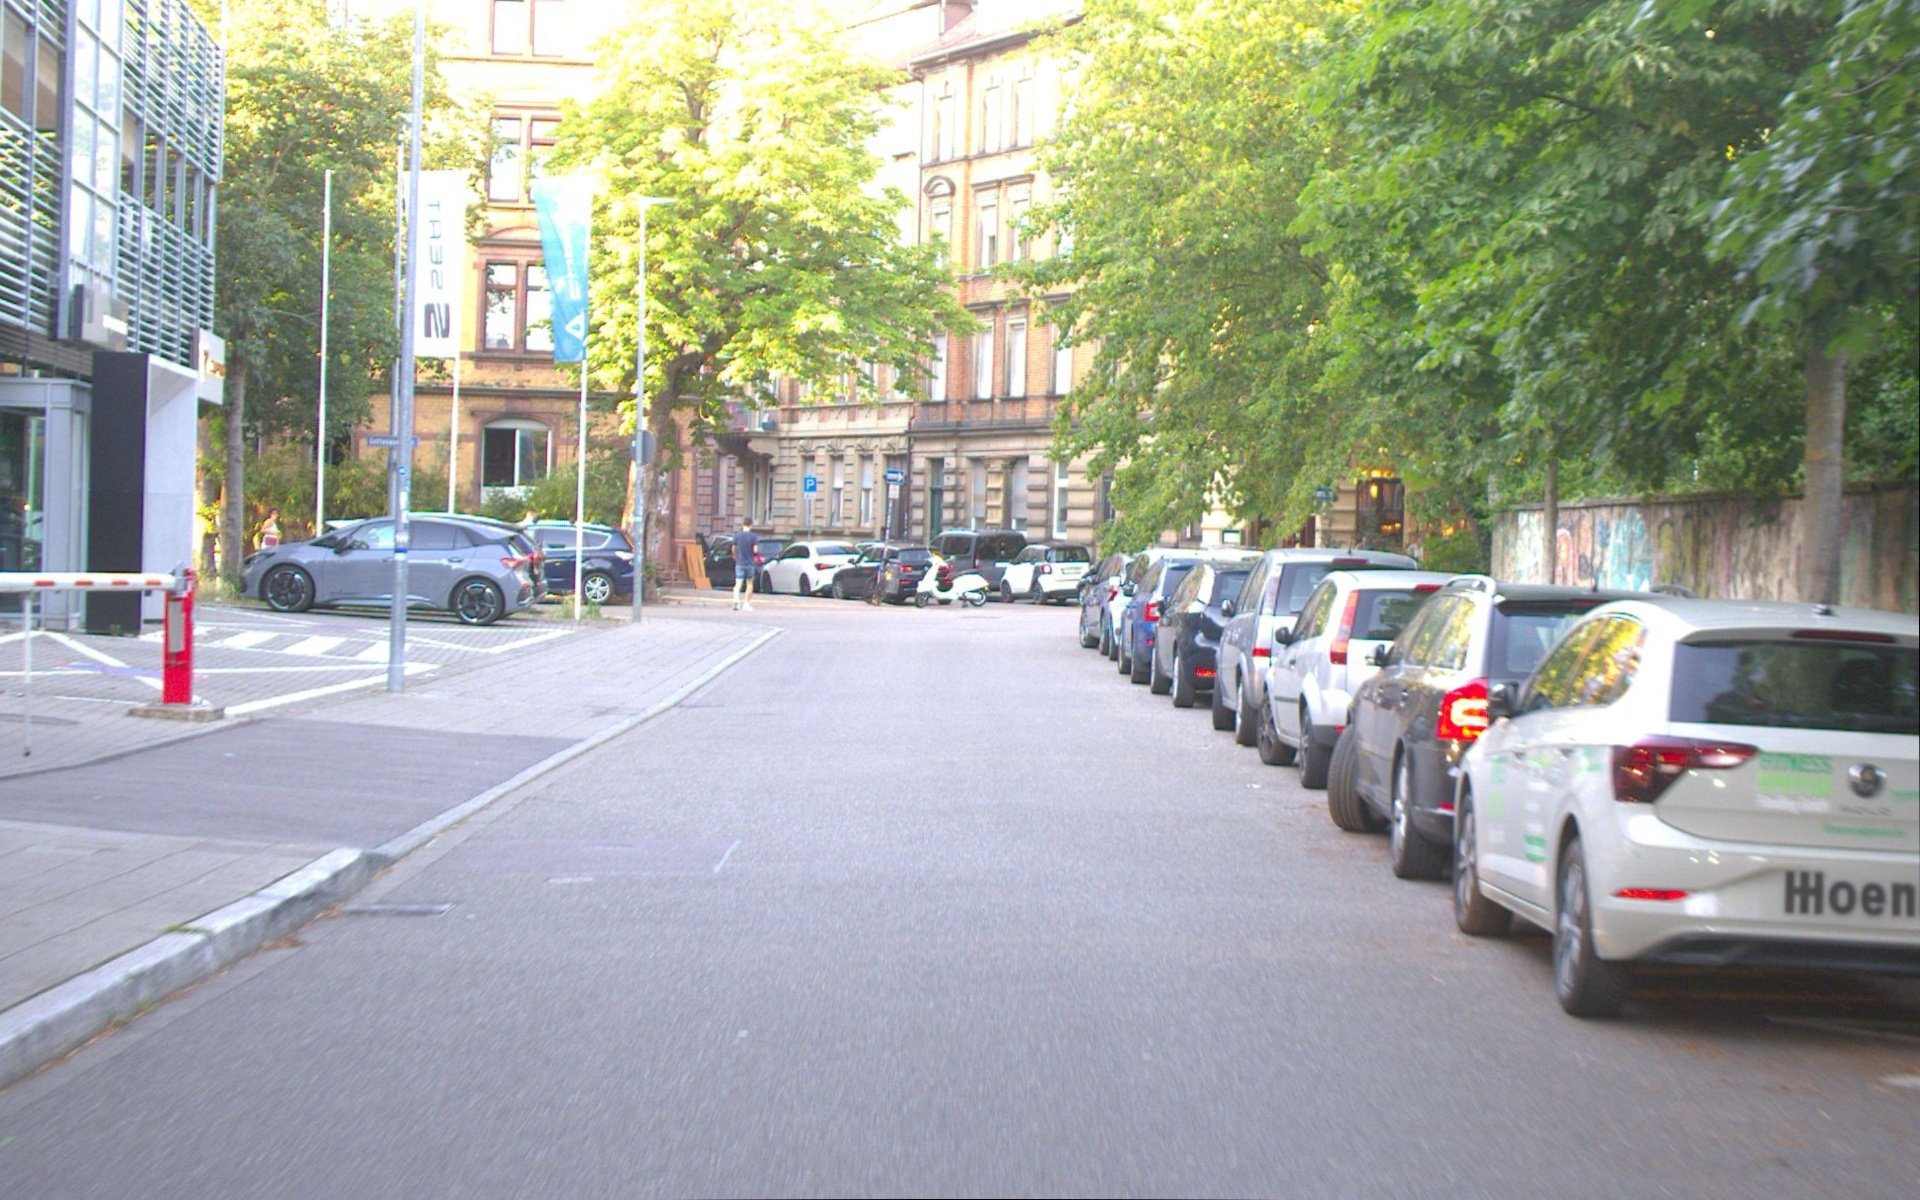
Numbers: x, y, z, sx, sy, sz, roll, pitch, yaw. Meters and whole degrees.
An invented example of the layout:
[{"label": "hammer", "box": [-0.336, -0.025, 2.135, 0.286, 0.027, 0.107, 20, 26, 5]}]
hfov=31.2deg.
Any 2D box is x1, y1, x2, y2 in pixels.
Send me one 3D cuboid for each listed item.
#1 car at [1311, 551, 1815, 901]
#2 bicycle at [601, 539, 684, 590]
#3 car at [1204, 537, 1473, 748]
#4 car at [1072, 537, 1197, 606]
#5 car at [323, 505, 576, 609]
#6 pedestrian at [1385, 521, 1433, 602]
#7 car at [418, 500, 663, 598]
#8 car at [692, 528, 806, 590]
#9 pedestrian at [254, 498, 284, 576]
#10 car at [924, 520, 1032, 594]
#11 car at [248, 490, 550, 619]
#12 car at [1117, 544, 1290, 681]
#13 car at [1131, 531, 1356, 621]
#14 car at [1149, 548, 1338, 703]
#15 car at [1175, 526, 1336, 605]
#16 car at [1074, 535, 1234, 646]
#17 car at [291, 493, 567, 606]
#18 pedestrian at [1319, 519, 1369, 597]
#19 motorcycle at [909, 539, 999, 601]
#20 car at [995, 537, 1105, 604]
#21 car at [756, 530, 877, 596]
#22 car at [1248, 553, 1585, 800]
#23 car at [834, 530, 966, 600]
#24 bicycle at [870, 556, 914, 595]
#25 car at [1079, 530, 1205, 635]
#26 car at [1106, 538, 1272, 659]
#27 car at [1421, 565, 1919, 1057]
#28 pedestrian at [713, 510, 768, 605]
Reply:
[{"label": "car", "box": [2.949, 0.540, 17.741, 1.759, 1.449, 4.393, 2, 2, 0]}, {"label": "bicycle", "box": [-6.719, -0.747, 72.729, 1.671, 1.024, 0.446, 1, 2, -24]}, {"label": "car", "box": [3.104, 0.300, 28.874, 1.759, 1.598, 3.874, 2, 1, 0]}, {"label": "car", "box": [4.180, -0.697, 82.955, 1.674, 1.520, 3.245, 1, 2, -24]}, {"label": "car", "box": [-8.674, -0.745, 58.640, 4.045, 1.470, 1.921, 4, 2, -4]}, {"label": "pedestrian", "box": [10.297, -0.885, 78.894, 0.773, 1.798, 0.843, 1, 2, -15]}, {"label": "car", "box": [-8.537, -1.049, 70.099, 4.828, 1.726, 1.921, 2, 2, -6]}, {"label": "car", "box": [-5.563, -1.085, 90.332, 1.654, 1.426, 3.897, 2, 2, -24]}, {"label": "pedestrian", "box": [-14.601, -1.341, 72.655, 0.542, 1.629, 0.448, 2, 2, -4]}, {"label": "car", "box": [0.451, -1.128, 89.958, 1.674, 1.776, 3.016, 2, 2, -24]}, {"label": "car", "box": [-8.307, -0.697, 51.174, 4.129, 1.612, 1.913, 4, 2, -2]}, {"label": "car", "box": [2.826, 0.106, 40.655, 1.695, 1.471, 4.117, 2, 1, 0]}, {"label": "car", "box": [5.109, -0.419, 61.651, 1.880, 1.461, 3.961, 4, 3, 43]}, {"label": "car", "box": [2.903, 0.226, 35.857, 1.596, 1.471, 3.774, 2, 1, 0]}, {"label": "car", "box": [6.644, -0.797, 77.739, 1.914, 1.520, 3.897, 2, 3, -24]}, {"label": "car", "box": [2.758, -0.171, 49.820, 1.695, 1.471, 4.213, 2, 1, -5]}, {"label": "car", "box": [-8.315, -0.805, 54.044, 4.066, 1.612, 1.765, 2, 2, -2]}, {"label": "pedestrian", "box": [9.047, -1.001, 81.032, 0.840, 1.798, 0.776, 1, 2, -20]}, {"label": "motorcycle", "box": [-0.145, -0.683, 78.095, 1.931, 1.336, 0.577, 1, 2, -10]}, {"label": "car", "box": [2.249, -0.746, 86.408, 1.674, 1.520, 2.768, 2, 2, -24]}, {"label": "car", "box": [-3.612, -0.940, 85.770, 1.654, 1.426, 4.168, 2, 2, -22]}, {"label": "car", "box": [3.073, 0.460, 23.867, 1.759, 1.436, 3.874, 2, 2, 0]}, {"label": "car", "box": [-1.451, -0.838, 81.217, 1.654, 1.426, 3.991, 2, 2, -24]}, {"label": "bicycle", "box": [-1.501, -0.548, 76.030, 0.425, 0.819, 1.460, 2, 2, 22]}, {"label": "car", "box": [2.867, -0.312, 54.852, 1.695, 1.565, 3.972, 2, 1, -1]}, {"label": "car", "box": [2.982, -0.052, 45.413, 1.695, 1.471, 3.560, 2, 1, -4]}, {"label": "car", "box": [2.923, 0.667, 12.988, 1.759, 1.437, 4.006, 2, 2, 0]}, {"label": "pedestrian", "box": [-4.295, -0.838, 67.323, 0.735, 1.798, 1.122, 1, 2, -20]}]
